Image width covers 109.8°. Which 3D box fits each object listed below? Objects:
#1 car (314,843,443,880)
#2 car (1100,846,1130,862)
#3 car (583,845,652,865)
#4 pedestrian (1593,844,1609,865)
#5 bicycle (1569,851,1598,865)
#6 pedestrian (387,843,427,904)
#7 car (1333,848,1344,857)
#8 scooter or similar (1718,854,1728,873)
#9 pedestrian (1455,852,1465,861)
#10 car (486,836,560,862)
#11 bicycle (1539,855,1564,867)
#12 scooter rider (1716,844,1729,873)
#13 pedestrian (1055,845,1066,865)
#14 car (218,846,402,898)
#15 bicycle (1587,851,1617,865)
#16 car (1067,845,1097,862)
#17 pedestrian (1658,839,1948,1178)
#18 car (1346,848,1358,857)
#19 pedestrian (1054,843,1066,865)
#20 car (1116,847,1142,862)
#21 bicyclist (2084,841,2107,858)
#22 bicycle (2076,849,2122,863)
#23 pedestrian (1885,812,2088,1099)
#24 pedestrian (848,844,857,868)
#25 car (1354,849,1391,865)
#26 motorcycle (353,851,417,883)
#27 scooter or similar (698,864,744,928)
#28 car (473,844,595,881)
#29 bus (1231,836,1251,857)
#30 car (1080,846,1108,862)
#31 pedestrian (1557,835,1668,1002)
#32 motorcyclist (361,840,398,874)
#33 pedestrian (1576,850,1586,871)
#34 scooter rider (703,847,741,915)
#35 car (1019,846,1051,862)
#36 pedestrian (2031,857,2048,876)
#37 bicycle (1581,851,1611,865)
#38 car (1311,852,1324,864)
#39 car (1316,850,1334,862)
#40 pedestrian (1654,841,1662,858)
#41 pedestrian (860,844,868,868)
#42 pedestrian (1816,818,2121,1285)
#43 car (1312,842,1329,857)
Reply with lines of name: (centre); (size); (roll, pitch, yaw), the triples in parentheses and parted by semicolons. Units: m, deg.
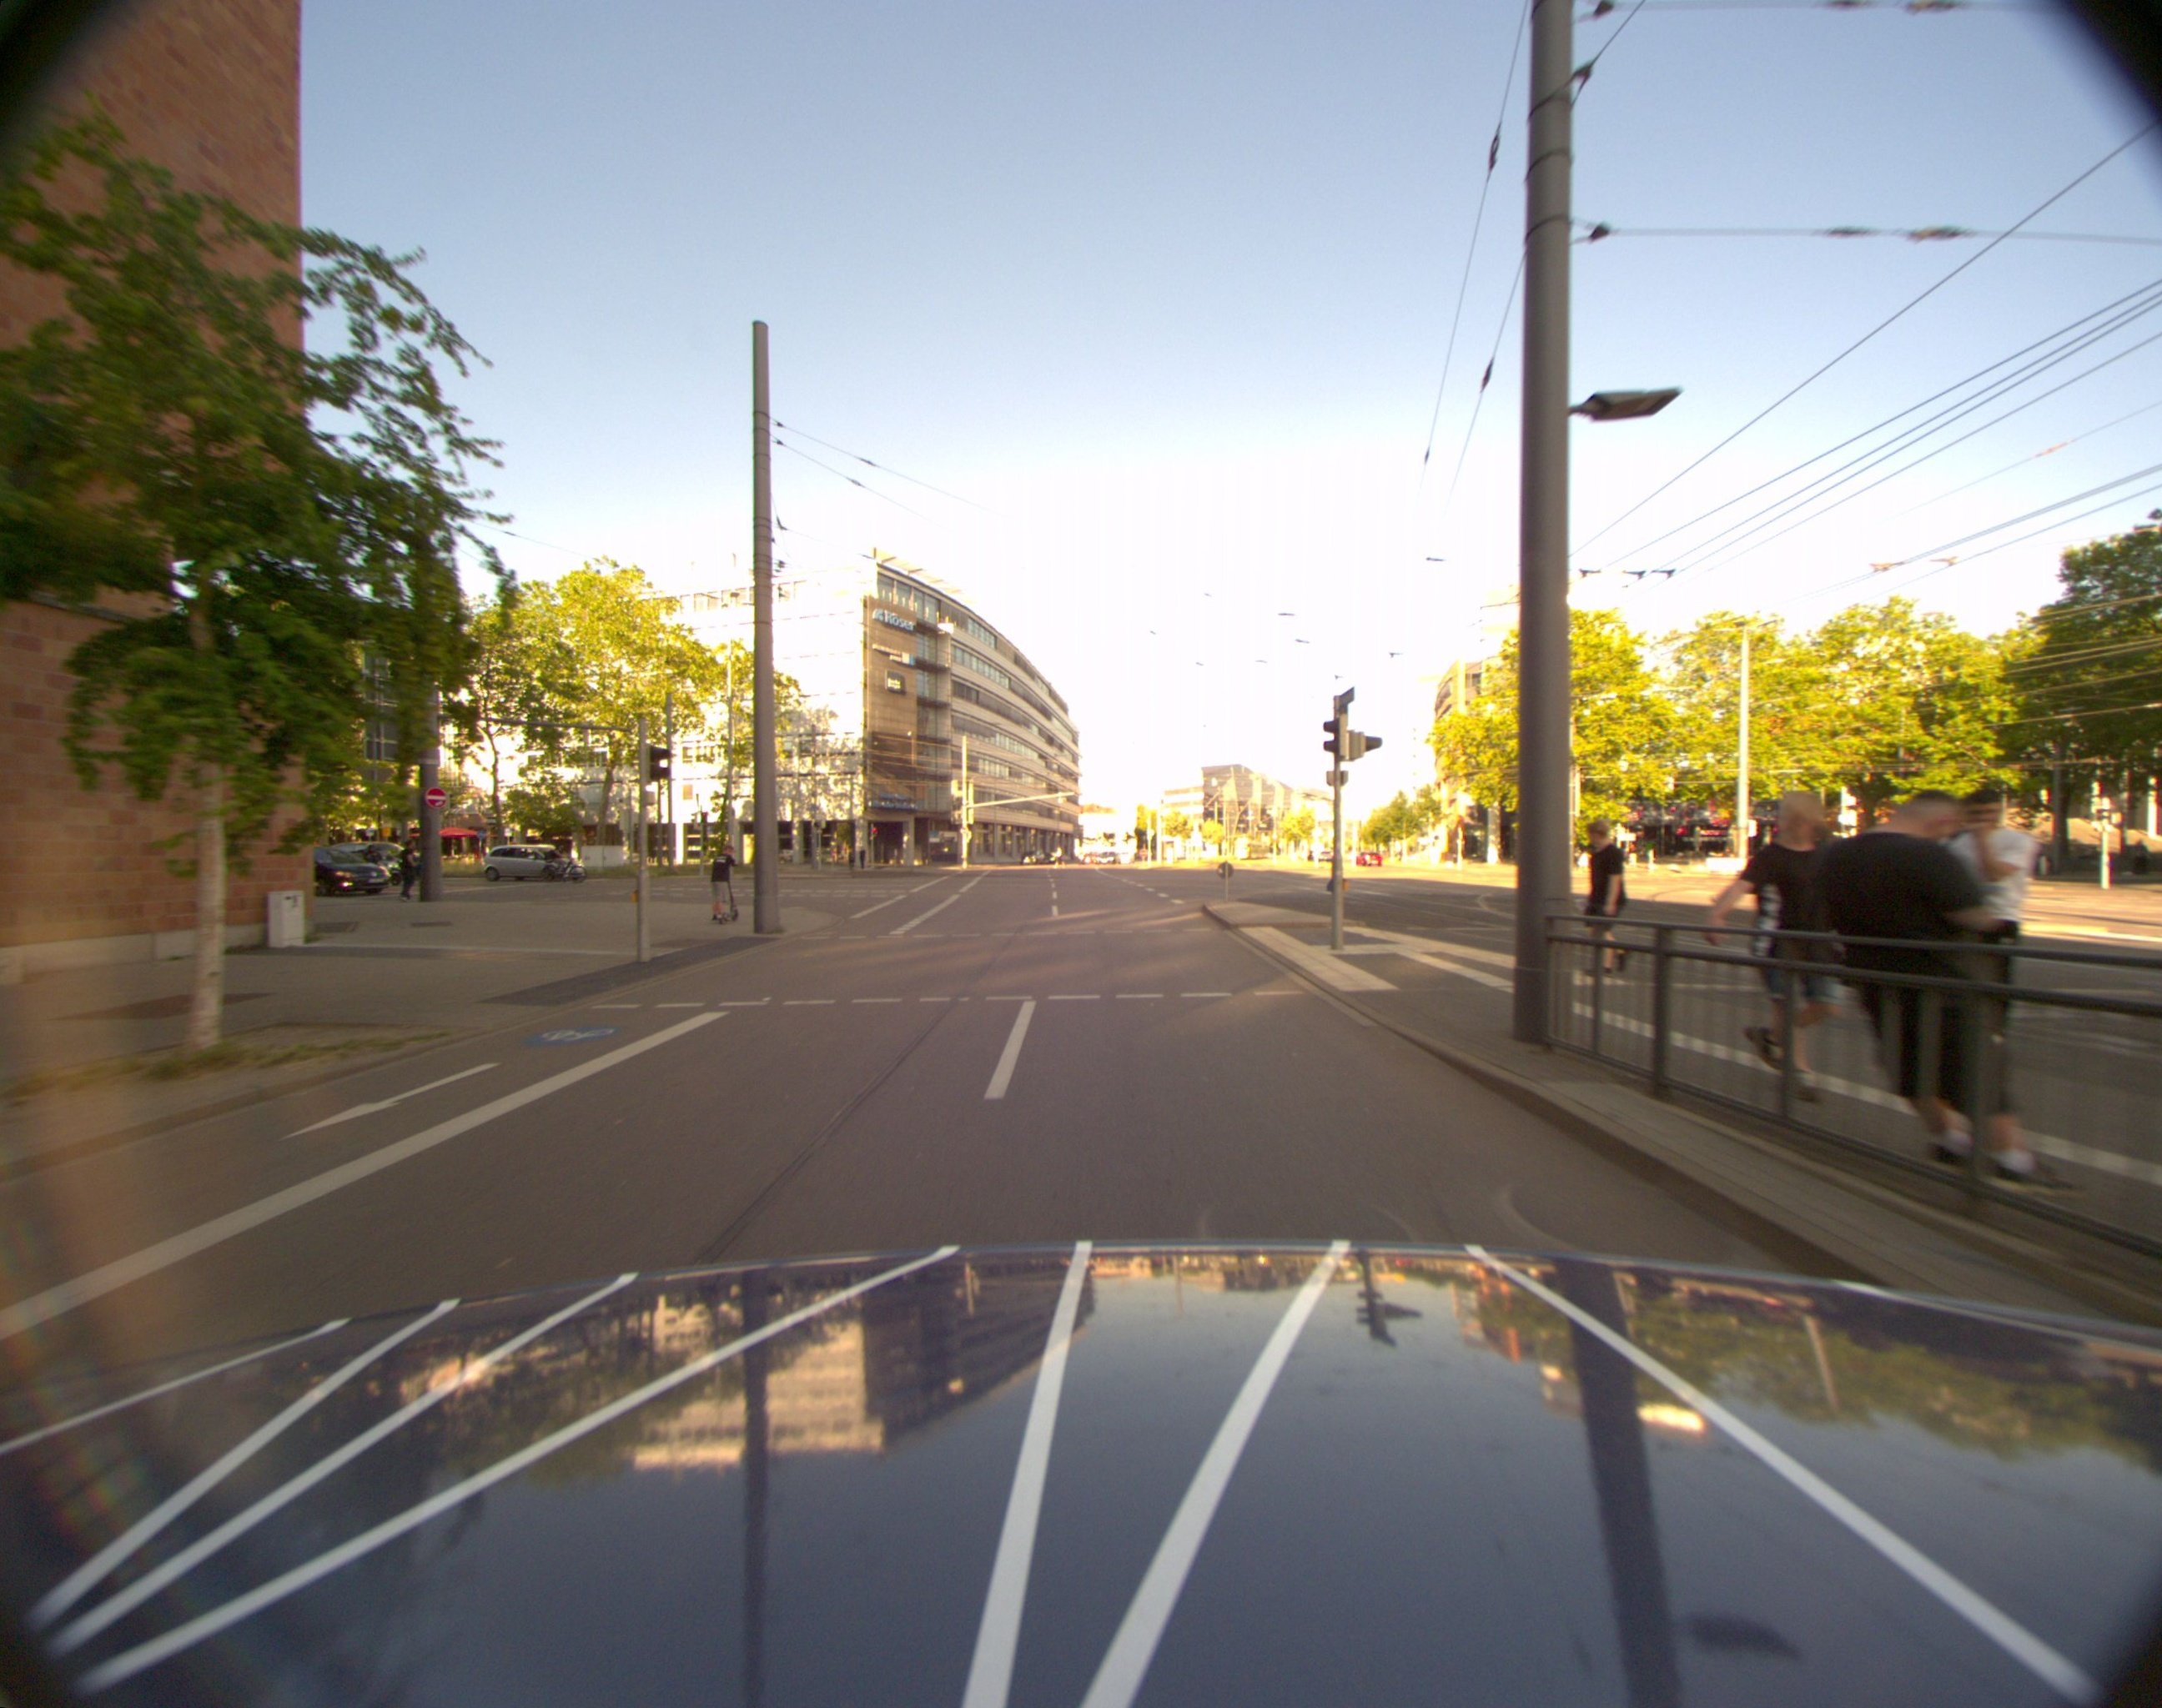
car: (-31.928, 0.320, 34.607); (4.320, 1.641, 1.860); (0, 1, 5)
car: (3.481, -0.004, 76.430); (1.900, 1.612, 4.530); (0, 0, 17)
car: (-36.173, 0.080, 59.328); (4.319, 1.543, 1.860); (0, 1, 6)
pedestrian: (42.818, 0.034, 62.573); (0.891, 1.754, 0.732); (1, 0, 21)
bicycle: (41.430, 0.340, 62.708); (1.841, 1.123, 0.776); (0, 1, 8)
pedestrian: (-19.518, 0.544, 21.995); (0.822, 1.706, 0.666); (1, 1, 34)
car: (46.041, -0.309, 135.803); (1.861, 1.622, 4.269); (0, 0, 20)
scooter or similar: (41.004, 0.600, 48.536); (0.454, 1.172, 1.162); (1, 2, 39)
pedestrian: (42.009, 0.280, 84.236); (0.776, 1.075, 0.681); (0, 1, 1)
car: (-43.456, -0.396, 59.245); (4.380, 2.002, 2.000); (0, 1, 4)
bicycle: (39.668, 0.585, 64.090); (1.696, 1.030, 0.549); (0, 1, 12)
scooter rider: (41.010, 0.293, 48.558); (0.587, 1.822, 0.765); (1, 2, 39)
pedestrian: (-1.743, 0.057, 65.271); (0.845, 1.678, 0.648); (0, 1, 6)
car: (-25.716, 0.570, 25.445); (4.495, 1.645, 1.840); (0, 2, 5)
bicycle: (41.058, 0.322, 59.892); (1.841, 1.123, 0.776); (0, 1, 8)
car: (0.135, -0.032, 76.843); (1.900, 1.612, 3.871); (0, 0, 17)
pedestrian: (3.697, 0.693, 3.945); (0.716, 1.530, 0.850); (0, 1, -22)
car: (48.686, -0.222, 136.447); (1.861, 1.622, 4.269); (0, 0, 18)
pedestrian: (-1.790, -0.026, 64.602); (0.965, 1.832, 0.699); (0, 1, 5)
car: (5.363, 0.059, 84.854); (1.900, 1.612, 4.177); (0, 0, 17)
bicyclist: (79.448, -0.367, 59.509); (0.956, 1.337, 0.676); (1, 2, 39)
bicycle: (79.571, 0.170, 59.426); (2.009, 1.061, 0.697); (1, 1, 39)
pedestrian: (5.942, 0.598, 5.005); (0.643, 1.708, 0.776); (-1, 1, -35)
pedestrian: (-17.452, 0.171, 58.119); (0.589, 1.813, 0.544); (0, 1, -11)
car: (27.576, 0.271, 72.007); (1.692, 1.419, 3.998); (0, 0, -4)
motorcycle: (-27.964, 0.522, 30.538); (2.027, 1.251, 0.853); (0, 0, 12)
scooter or similar: (-7.767, 0.876, 16.433); (0.529, 1.310, 1.132); (0, 1, -6)
car: (-24.484, 0.348, 34.102); (4.320, 1.588, 1.736); (0, 1, 5)
bus: (26.532, -1.186, 126.585); (2.722, 3.388, 9.675); (0, 0, 9)
car: (1.386, 0.023, 80.894); (1.900, 1.612, 4.177); (0, 0, 17)
pedestrian: (5.587, 0.648, 8.027); (0.624, 1.692, 0.749); (0, 1, 0)
motorcyclist: (-28.255, 0.112, 30.600); (0.747, 1.345, 0.822); (0, 0, 12)
pedestrian: (37.680, 0.467, 57.215); (0.574, 1.529, 0.483); (-1, 2, -43)
scooter rider: (-7.780, 0.573, 16.489); (0.507, 1.452, 0.721); (0, 1, -5)
car: (-4.682, -0.019, 77.696); (1.900, 1.612, 4.177); (0, 0, 17)
pedestrian: (50.951, 0.665, 40.395); (0.378, 1.026, 0.406); (0, 1, 5)
bicycle: (41.164, 0.328, 60.754); (1.841, 1.123, 0.776); (0, 1, 8)
car: (35.543, 0.594, 114.312); (1.615, 1.593, 4.182); (3, 0, 20)
car: (29.939, 0.265, 93.243); (1.633, 1.443, 4.004); (0, 0, 12)
pedestrian: (55.392, -0.438, 72.990); (0.542, 1.660, 0.572); (1, 2, 41)
pedestrian: (-16.651, 0.172, 58.371); (0.547, 1.813, 0.374); (0, 1, -11)
pedestrian: (3.207, 0.643, 2.807); (0.490, 1.530, 0.552); (0, 1, 17)
car: (41.736, -0.748, 132.520); (1.995, 2.465, 5.985); (0, 0, 25)
